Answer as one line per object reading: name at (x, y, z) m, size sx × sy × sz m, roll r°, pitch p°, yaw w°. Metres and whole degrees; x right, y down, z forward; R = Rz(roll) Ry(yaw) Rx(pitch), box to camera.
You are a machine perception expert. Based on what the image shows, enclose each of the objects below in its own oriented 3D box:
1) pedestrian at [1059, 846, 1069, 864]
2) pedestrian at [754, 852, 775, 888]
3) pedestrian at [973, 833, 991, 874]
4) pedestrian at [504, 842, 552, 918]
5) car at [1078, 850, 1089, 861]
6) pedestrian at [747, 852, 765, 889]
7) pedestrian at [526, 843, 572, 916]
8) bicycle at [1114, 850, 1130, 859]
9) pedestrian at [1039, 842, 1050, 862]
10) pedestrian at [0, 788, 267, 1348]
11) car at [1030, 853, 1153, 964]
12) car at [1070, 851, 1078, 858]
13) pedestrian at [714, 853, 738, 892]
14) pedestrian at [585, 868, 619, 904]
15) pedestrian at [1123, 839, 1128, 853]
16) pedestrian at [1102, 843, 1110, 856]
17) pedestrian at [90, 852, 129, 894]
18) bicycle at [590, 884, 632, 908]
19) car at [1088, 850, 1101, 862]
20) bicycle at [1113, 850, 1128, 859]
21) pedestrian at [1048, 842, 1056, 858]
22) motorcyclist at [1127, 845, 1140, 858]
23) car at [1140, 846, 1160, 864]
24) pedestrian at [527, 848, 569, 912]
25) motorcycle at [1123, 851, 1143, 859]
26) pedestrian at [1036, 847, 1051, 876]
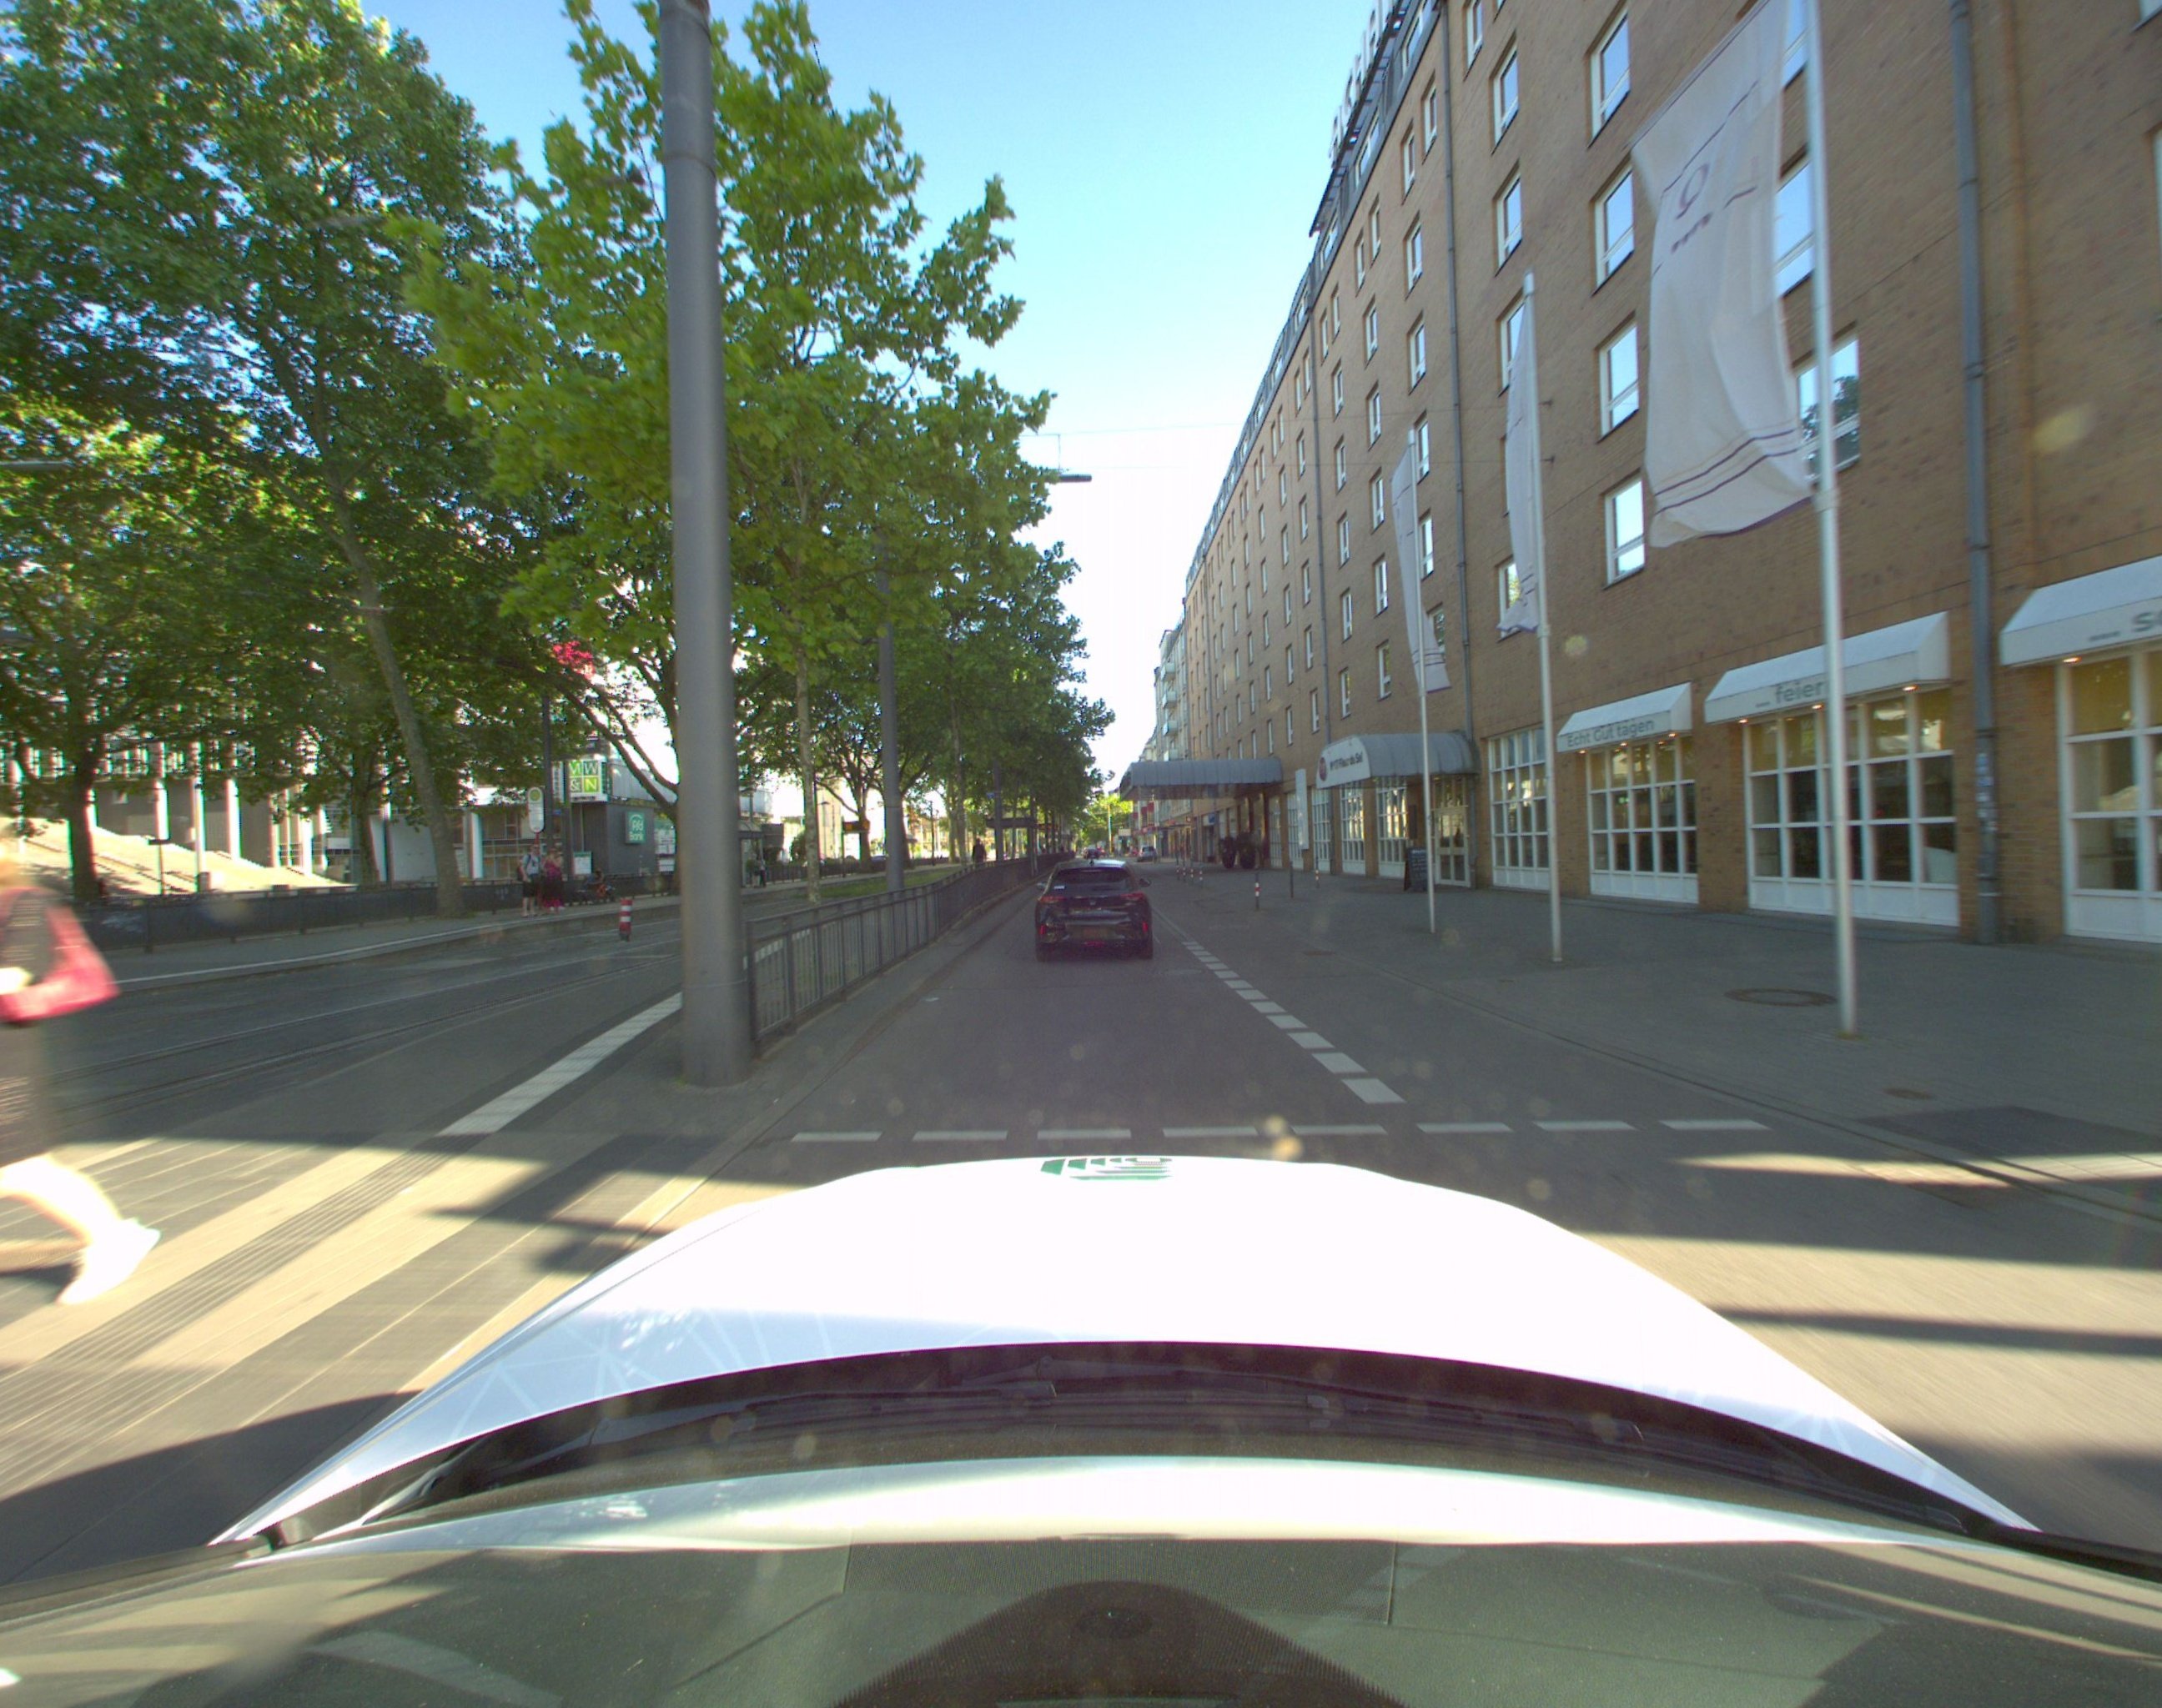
pedestrian at (-1.425, 0.082, 67.407) m, size 0.720 × 1.444 × 0.626 m, roll -2°, pitch 0°, yaw -3°
pedestrian at (-14.107, 0.701, 36.333) m, size 0.559 × 1.573 × 0.641 m, roll -2°, pitch 2°, yaw 13°
pedestrian at (-4.159, -0.029, 34.304) m, size 0.602 × 1.680 × 0.486 m, roll -4°, pitch 0°, yaw 0°
pedestrian at (-13.712, 0.634, 20.214) m, size 0.633 × 1.828 × 0.743 m, roll -2°, pitch 0°, yaw -4°
car at (0.357, 0.229, 123.890) m, size 1.608 × 1.501 × 3.690 m, roll -2°, pitch 1°, yaw 0°
pedestrian at (-14.290, 0.728, 35.764) m, size 0.498 × 1.573 × 0.495 m, roll -2°, pitch 2°, yaw 4°
pedestrian at (-13.677, 0.635, 20.944) m, size 0.585 × 1.828 × 0.749 m, roll -2°, pitch 0°, yaw 32°
bicycle at (6.349, 0.088, 126.071) m, size 2.346 × 1.233 × 0.684 m, roll -2°, pitch 0°, yaw 2°
pedestrian at (-2.576, -0.131, 57.472) m, size 0.602 × 1.365 × 0.486 m, roll -4°, pitch 0°, yaw 0°
pedestrian at (-3.588, 0.656, 2.760) m, size 0.710 × 1.680 × 0.833 m, roll -4°, pitch 0°, yaw 9°
car at (0.240, 0.746, 12.961) m, size 1.665 × 1.502 × 3.693 m, roll -1°, pitch 0°, yaw 3°
car at (-1.467, 0.068, 168.950) m, size 1.608 × 1.501 × 3.690 m, roll -2°, pitch 1°, yaw 0°
pedestrian at (-14.526, 0.754, 33.315) m, size 0.479 × 1.573 × 0.676 m, roll 0°, pitch 2°, yaw 43°
pedestrian at (-15.963, 1.060, 27.154) m, size 0.586 × 1.164 × 0.748 m, roll -2°, pitch 0°, yaw 16°
pedestrian at (9.394, -1.671, 170.535) m, size 0.914 × 2.871 × 1.150 m, roll -2°, pitch 0°, yaw 0°
pedestrian at (5.493, -0.943, 178.326) m, size 1.155 × 2.871 × 0.910 m, roll -2°, pitch 0°, yaw -32°
pedestrian at (-39.839, 0.776, 33.396) m, size 0.694 × 1.652 × 0.706 m, roll -2°, pitch 0°, yaw 1°
bicycle at (-15.714, 1.389, 27.271) m, size 0.391 × 0.689 × 1.696 m, roll -2°, pitch 0°, yaw 1°
car at (1.706, 0.252, 104.950) m, size 1.608 × 1.501 × 3.690 m, roll -2°, pitch 1°, yaw 0°
bicycle at (6.059, 0.099, 124.642) m, size 2.346 × 1.233 × 0.684 m, roll -2°, pitch 0°, yaw 2°
pedestrian at (-2.567, -0.374, 72.142) m, size 0.602 × 1.365 × 0.486 m, roll -4°, pitch 0°, yaw 0°
motorcyclist at (7.233, -0.349, 112.732) m, size 1.312 × 1.698 × 1.225 m, roll -2°, pitch 0°, yaw -29°
car at (6.630, 0.067, 78.867) m, size 1.665 × 1.652 × 3.692 m, roll -2°, pitch 1°, yaw 2°
pedestrian at (-15.422, 0.732, 23.574) m, size 0.586 × 1.800 × 0.748 m, roll -2°, pitch 0°, yaw 16°
motorcycle at (7.167, 0.133, 112.864) m, size 1.312 × 1.058 × 3.069 m, roll -2°, pitch 1°, yaw -29°
pedestrian at (-1.935, 0.382, 42.090) m, size 0.720 × 1.444 × 0.626 m, roll -2°, pitch 0°, yaw -3°
